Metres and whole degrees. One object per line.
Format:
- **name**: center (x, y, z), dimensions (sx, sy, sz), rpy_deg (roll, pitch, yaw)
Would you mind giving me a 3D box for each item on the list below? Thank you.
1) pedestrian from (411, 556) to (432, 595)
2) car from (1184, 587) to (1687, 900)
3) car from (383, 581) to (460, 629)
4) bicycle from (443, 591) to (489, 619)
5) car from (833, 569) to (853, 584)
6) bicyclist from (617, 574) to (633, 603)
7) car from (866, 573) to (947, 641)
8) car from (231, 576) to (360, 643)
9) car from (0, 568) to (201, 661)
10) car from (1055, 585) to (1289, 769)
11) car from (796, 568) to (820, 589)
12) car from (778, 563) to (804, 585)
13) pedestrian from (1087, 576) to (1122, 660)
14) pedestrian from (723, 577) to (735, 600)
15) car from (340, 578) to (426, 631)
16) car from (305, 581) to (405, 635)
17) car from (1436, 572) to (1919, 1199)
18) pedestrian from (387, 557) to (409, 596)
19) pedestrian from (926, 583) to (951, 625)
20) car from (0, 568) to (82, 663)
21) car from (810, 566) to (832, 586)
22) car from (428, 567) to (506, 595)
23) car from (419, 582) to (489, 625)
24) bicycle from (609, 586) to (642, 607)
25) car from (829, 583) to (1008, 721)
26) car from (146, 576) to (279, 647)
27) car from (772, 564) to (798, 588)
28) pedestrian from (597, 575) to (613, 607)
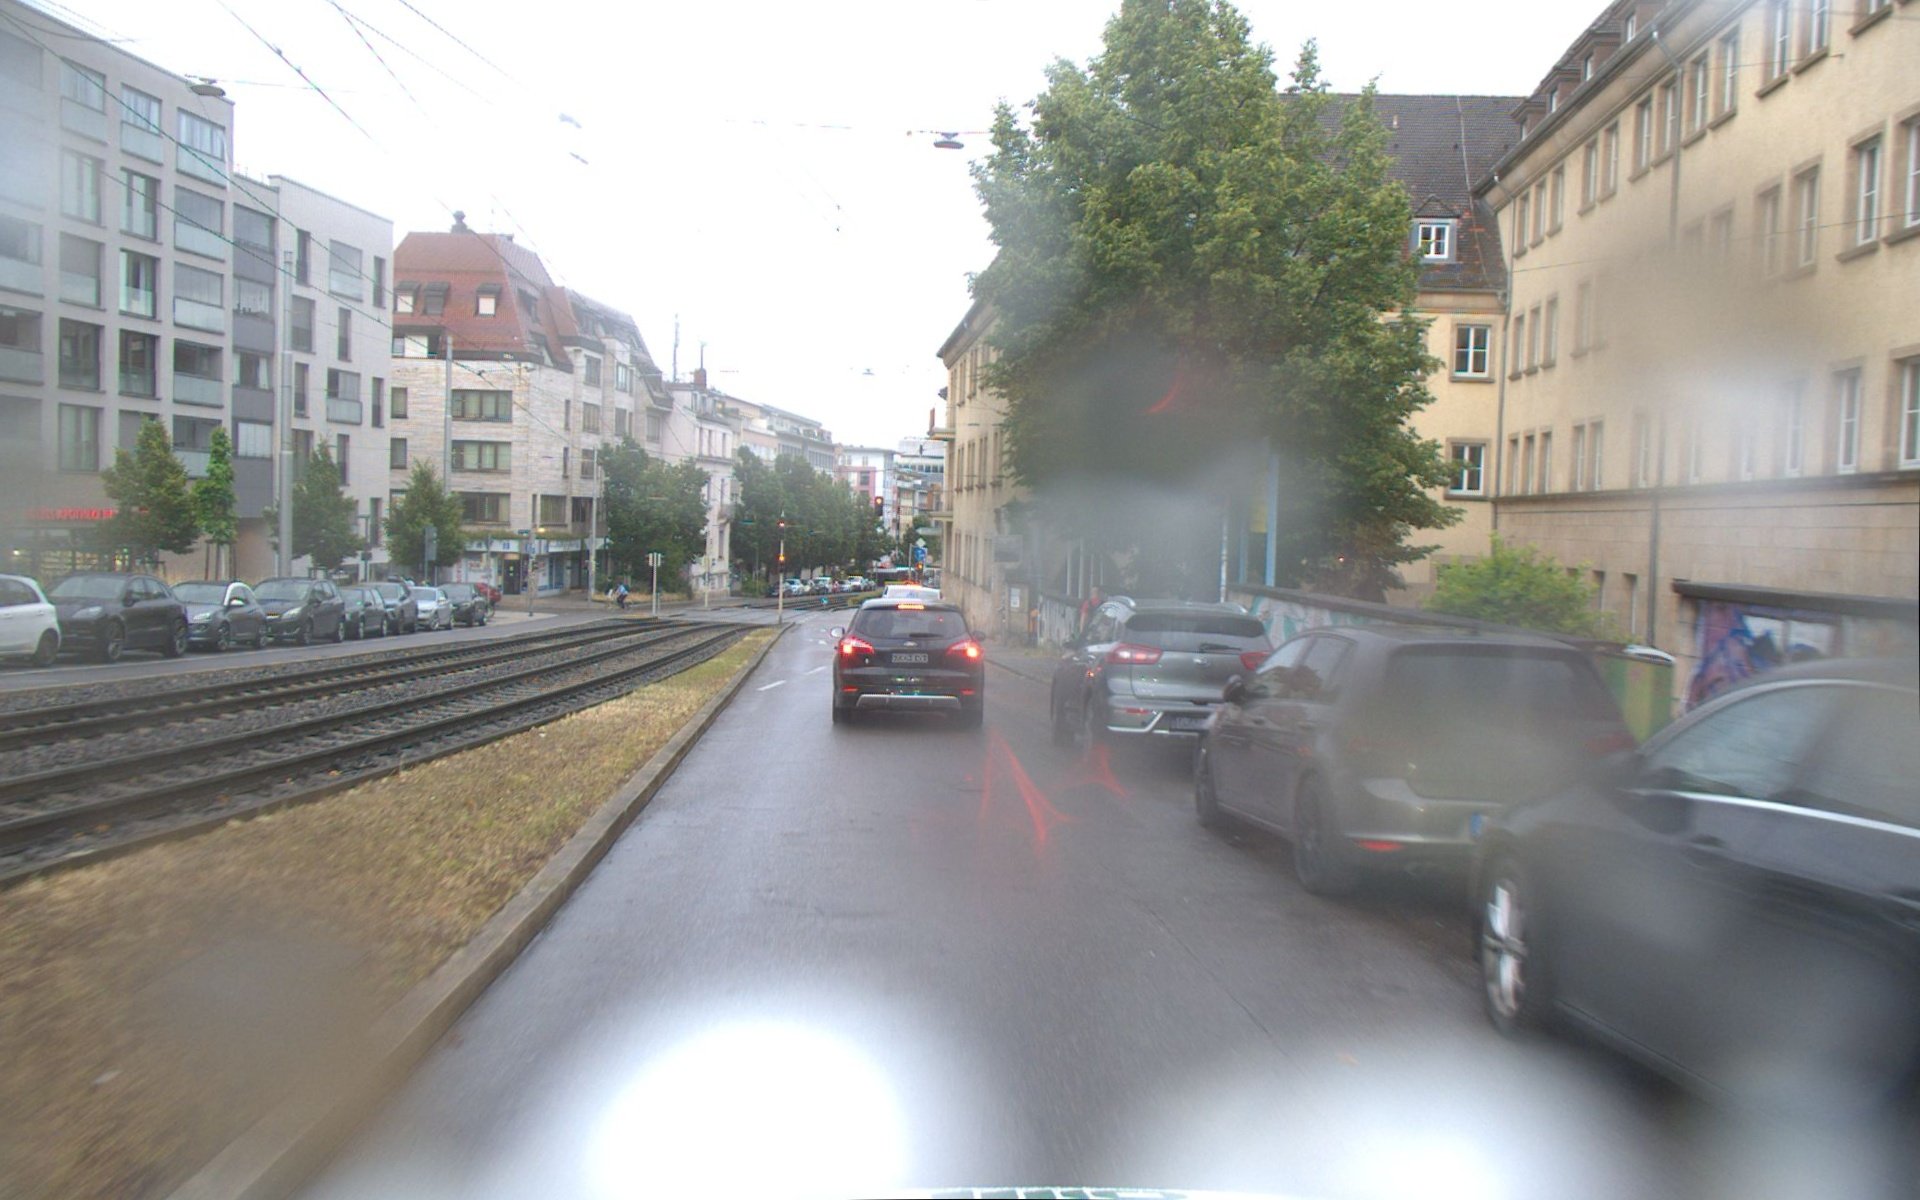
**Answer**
- **pedestrian**: center (-28.887, -1.322, 88.701), dimensions (0.924, 2.049, 0.763), rpy_deg (1, 0, -9)
- **car**: center (2.601, 0.675, 10.088), dimensions (1.633, 1.502, 4.105), rpy_deg (0, 0, -4)
- **car**: center (-18.092, 0.152, 55.738), dimensions (1.739, 1.530, 4.076), rpy_deg (1, 0, -8)
- **bicycle**: center (-20.476, 0.226, 68.545), dimensions (1.770, 1.082, 0.455), rpy_deg (2, 0, -20)
- **car**: center (-13.322, -2.663, 188.771), dimensions (1.953, 1.691, 4.000), rpy_deg (1, 1, 0)
- **bicyclist**: center (-18.931, -0.630, 93.378), dimensions (0.695, 1.601, 0.456), rpy_deg (2, 0, -39)
- **car**: center (-1.436, 0.146, 46.020), dimensions (2.093, 1.776, 4.218), rpy_deg (1, 1, 0)
- **car**: center (-16.415, 0.215, 41.086), dimensions (1.685, 1.539, 4.315), rpy_deg (1, 0, -4)
- **car**: center (-15.910, 0.243, 30.809), dimensions (1.731, 1.588, 4.402), rpy_deg (1, 0, -4)
- **car**: center (1.912, 0.628, 16.030), dimensions (1.632, 1.551, 4.107), rpy_deg (0, 0, -2)
- **car**: center (-15.089, -2.154, 164.574), dimensions (1.953, 2.049, 4.000), rpy_deg (1, 1, 0)
- **car**: center (-16.136, -2.507, 158.182), dimensions (1.953, 2.049, 4.000), rpy_deg (1, 1, 0)
- **pedestrian**: center (3.014, 0.371, 34.597), dimensions (0.620, 1.751, 0.710), rpy_deg (1, 0, -4)
- **pedestrian**: center (-21.055, -1.030, 150.678), dimensions (0.926, 2.049, 0.762), rpy_deg (1, 0, -14)
- **car**: center (-17.659, 0.119, 50.801), dimensions (1.739, 1.530, 3.914), rpy_deg (1, 0, -8)
- **car**: center (-16.942, 0.212, 46.509), dimensions (1.518, 1.386, 4.007), rpy_deg (2, 0, -4)
- **car**: center (2.808, 0.683, 4.516), dimensions (1.632, 1.502, 4.456), rpy_deg (0, 0, -2)
- **pedestrian**: center (-30.183, -1.281, 88.844), dimensions (0.924, 2.049, 0.763), rpy_deg (1, 0, -9)
- **pedestrian**: center (-0.961, 0.171, 74.564), dimensions (1.025, 1.826, 0.901), rpy_deg (1, 0, -7)
- **car**: center (-15.953, 0.232, 26.406), dimensions (1.729, 1.505, 3.736), rpy_deg (1, 0, 2)
- **car**: center (-14.707, -2.522, 175.530), dimensions (1.953, 2.049, 4.000), rpy_deg (1, 1, 0)
- **car**: center (-29.747, -1.144, 99.866), dimensions (4.046, 1.596, 1.824), rpy_deg (1, 0, 4)
- **car**: center (-19.066, 0.114, 62.460), dimensions (1.876, 1.530, 4.229), rpy_deg (1, 0, -8)
- **bicycle**: center (-18.905, -0.190, 93.413), dimensions (1.785, 1.082, 0.451), rpy_deg (2, 0, -40)
- **car**: center (-0.613, 0.569, 20.511), dimensions (1.883, 1.505, 3.995), rpy_deg (1, 1, -6)
- **car**: center (-16.262, 0.226, 36.154), dimensions (1.518, 1.460, 3.448), rpy_deg (1, 0, -4)
- **car**: center (-16.053, -2.196, 151.878), dimensions (1.953, 2.049, 4.000), rpy_deg (1, 1, 0)
- **pedestrian**: center (-22.312, -0.552, 104.044), dimensions (0.888, 1.965, 0.824), rpy_deg (1, 0, -9)
